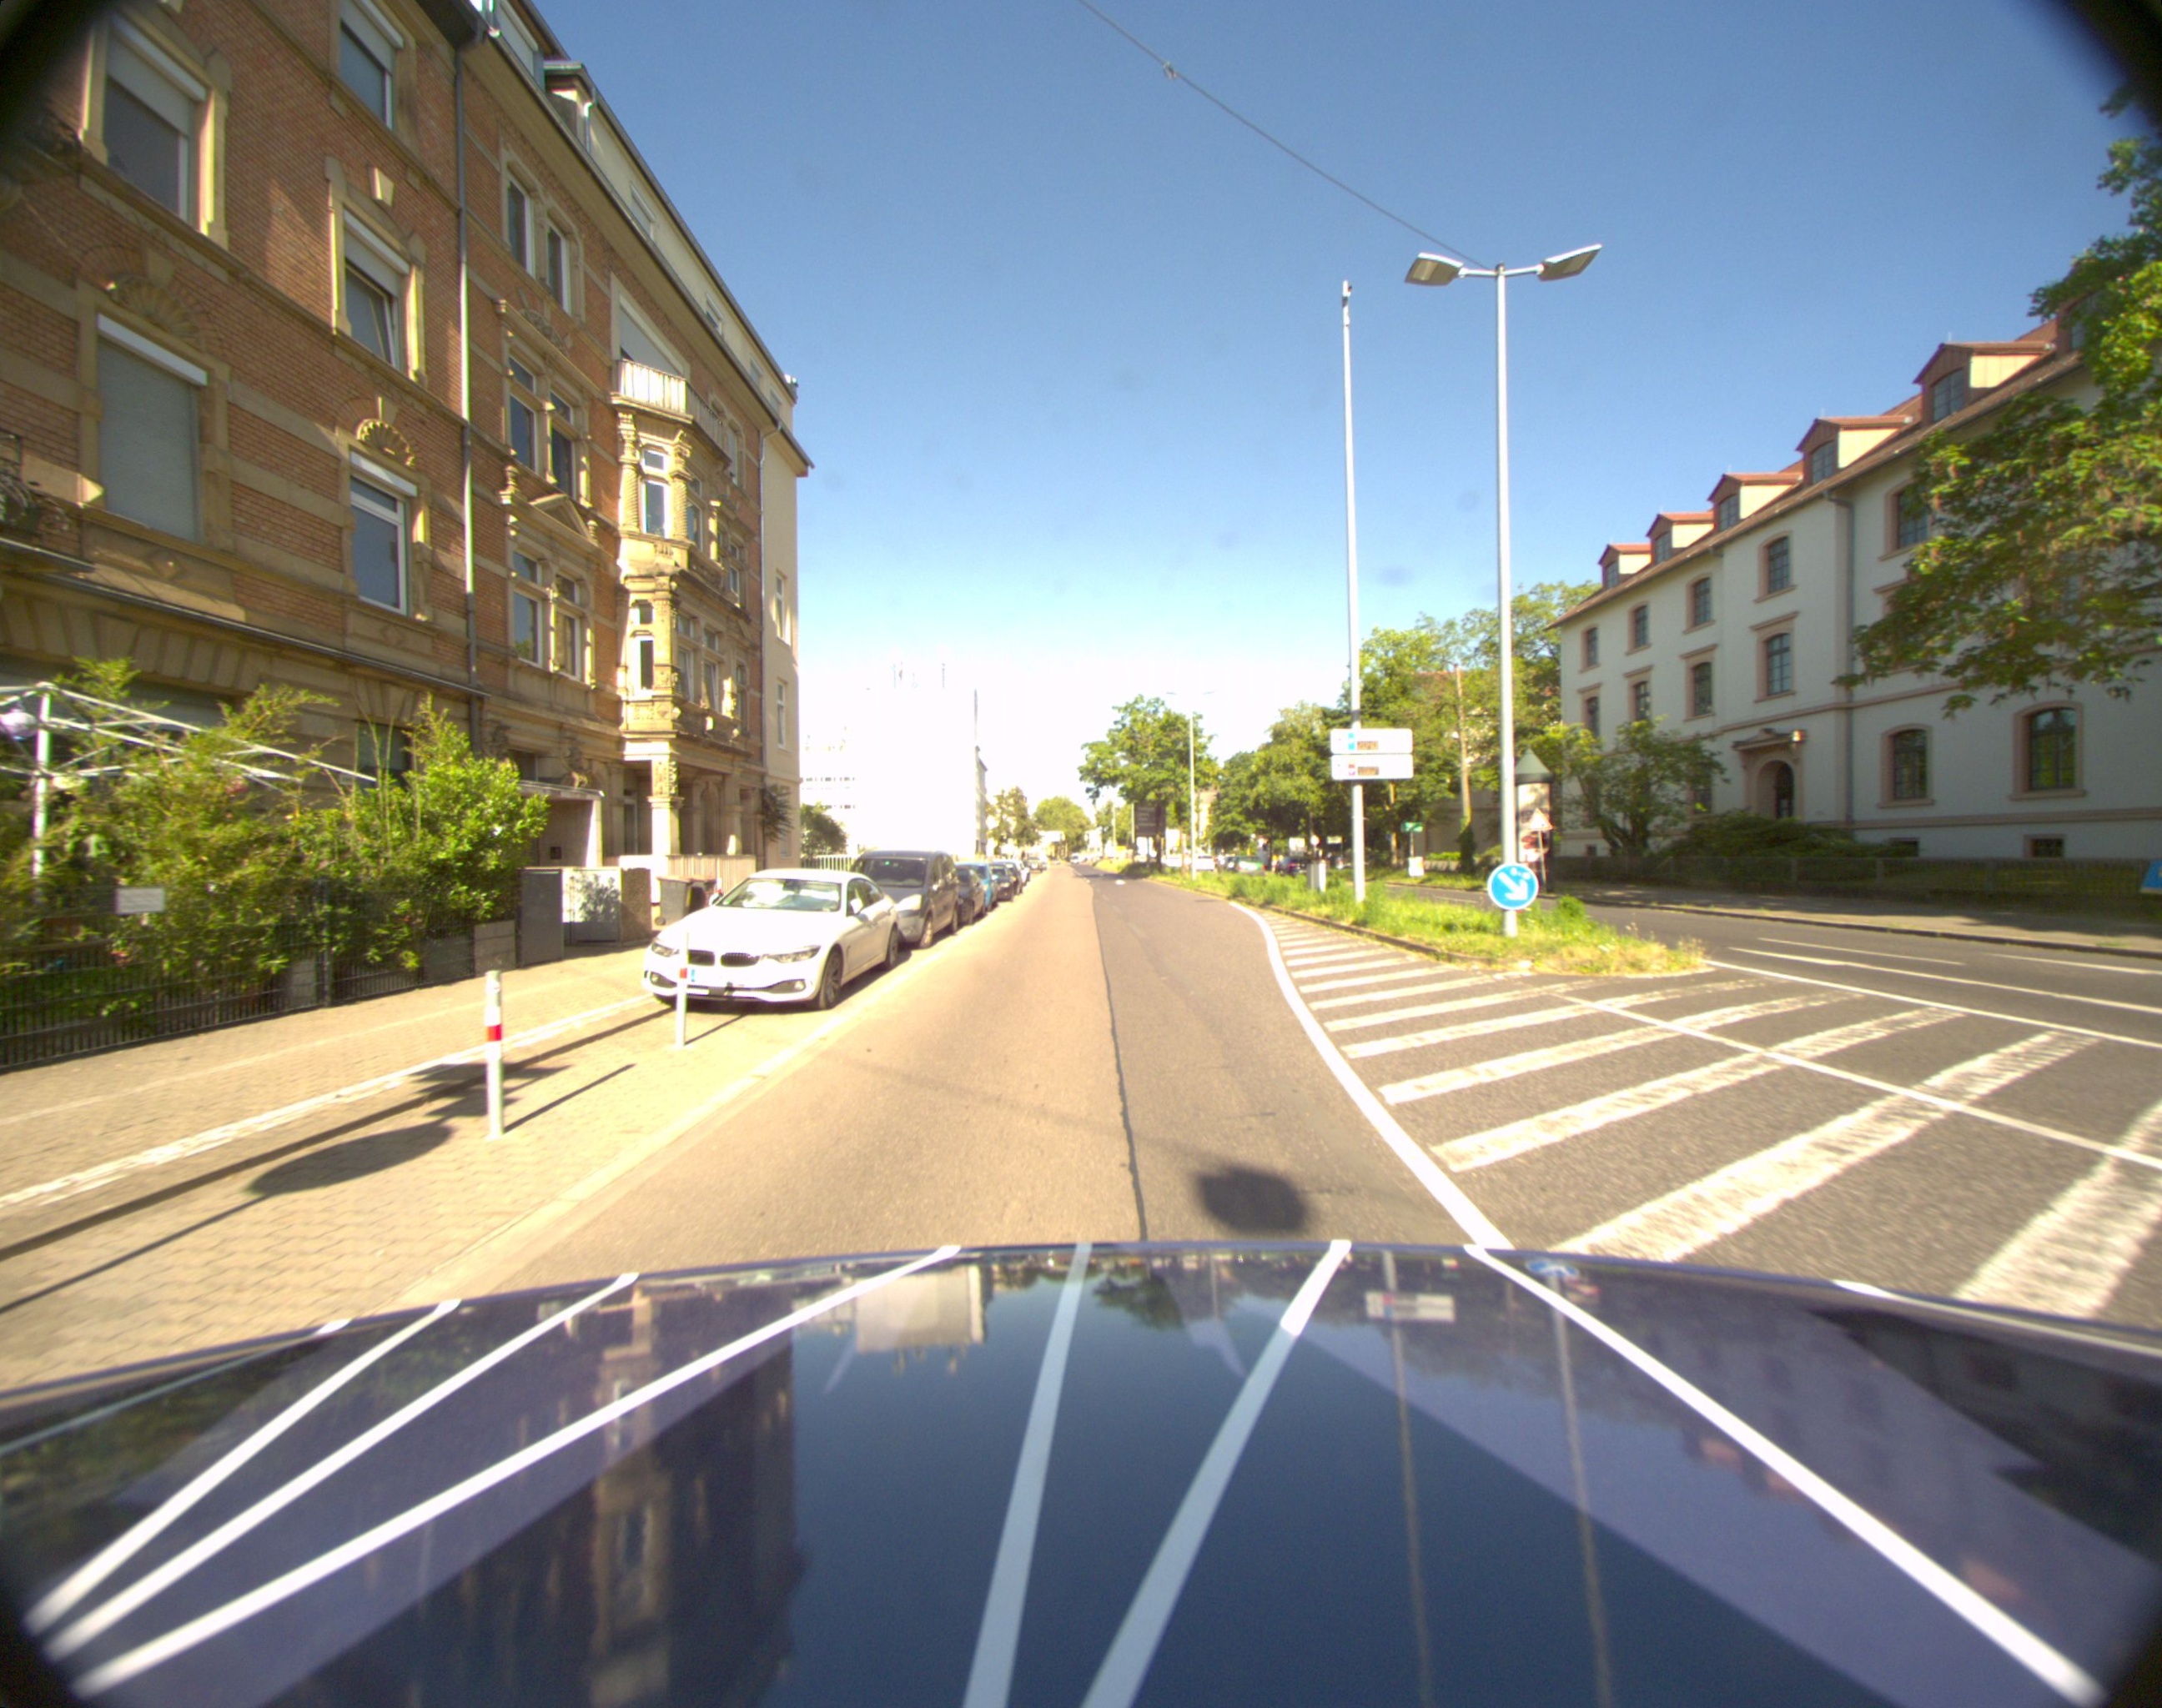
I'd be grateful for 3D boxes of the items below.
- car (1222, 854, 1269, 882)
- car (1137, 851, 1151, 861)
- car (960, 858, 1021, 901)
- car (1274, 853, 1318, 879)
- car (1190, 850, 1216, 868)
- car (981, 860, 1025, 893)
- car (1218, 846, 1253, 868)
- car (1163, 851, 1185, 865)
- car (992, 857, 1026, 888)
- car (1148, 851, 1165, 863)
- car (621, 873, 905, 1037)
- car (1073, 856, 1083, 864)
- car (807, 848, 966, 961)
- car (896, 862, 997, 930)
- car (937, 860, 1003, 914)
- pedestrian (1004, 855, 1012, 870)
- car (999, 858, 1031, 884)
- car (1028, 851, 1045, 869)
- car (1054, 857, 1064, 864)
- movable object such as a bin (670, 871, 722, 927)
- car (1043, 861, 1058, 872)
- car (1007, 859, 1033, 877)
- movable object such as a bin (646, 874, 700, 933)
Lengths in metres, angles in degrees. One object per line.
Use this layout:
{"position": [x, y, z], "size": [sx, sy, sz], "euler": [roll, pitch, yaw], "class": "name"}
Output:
{"position": [9.382, 0.768, 43.701], "size": [1.642, 1.510, 4.257], "euler": [-1, 0, -2], "class": "car"}
{"position": [10.046, 0.358, 121.535], "size": [1.800, 1.510, 4.257], "euler": [-1, 0, -2], "class": "car"}
{"position": [-3.375, 0.920, 29.205], "size": [1.940, 1.510, 4.483], "euler": [-1, 0, -2], "class": "car"}
{"position": [14.005, 0.762, 49.750], "size": [1.800, 1.510, 4.424], "euler": [-2, 0, 3], "class": "car"}
{"position": [11.202, 0.460, 69.833], "size": [1.905, 1.616, 4.538], "euler": [0, 0, 3], "class": "car"}
{"position": [-3.421, 0.957, 33.774], "size": [1.672, 1.385, 3.774], "euler": [-1, 0, -2], "class": "car"}
{"position": [11.609, 0.190, 57.362], "size": [1.800, 1.510, 4.086], "euler": [0, 1, 0], "class": "car"}
{"position": [10.668, 0.452, 87.513], "size": [1.843, 1.510, 4.665], "euler": [-1, 0, 0], "class": "car"}
{"position": [-3.742, 0.945, 39.778], "size": [1.673, 1.510, 3.660], "euler": [-1, 0, -4], "class": "car"}
{"position": [10.293, 0.369, 103.853], "size": [1.800, 1.510, 4.256], "euler": [-2, 2, -1], "class": "car"}
{"position": [-3.486, 1.002, 9.273], "size": [1.714, 1.417, 4.205], "euler": [1, 0, 0], "class": "car"}
{"position": [-0.763, 1.304, 174.254], "size": [1.882, 1.511, 3.999], "euler": [-2, 3, 6], "class": "car"}
{"position": [-3.524, 0.840, 14.659], "size": [1.823, 1.833, 4.364], "euler": [-1, 0, 1], "class": "car"}
{"position": [-3.277, 0.971, 19.322], "size": [1.672, 1.459, 4.274], "euler": [-2, 0, 1], "class": "car"}
{"position": [-3.443, 0.998, 24.079], "size": [1.626, 1.462, 3.298], "euler": [-4, 0, -2], "class": "car"}
{"position": [-7.944, 0.957, 82.444], "size": [0.745, 1.574, 0.896], "euler": [-2, 1, -1], "class": "pedestrian"}
{"position": [-3.791, 0.953, 43.960], "size": [1.613, 1.437, 3.658], "euler": [2, 0, -2], "class": "car"}
{"position": [-4.881, 0.642, 84.071], "size": [1.665, 2.002, 4.775], "euler": [0, 1, -1], "class": "car"}
{"position": [-4.988, 1.479, 173.169], "size": [1.882, 1.510, 4.001], "euler": [-2, 1, 6], "class": "car"}
{"position": [-8.560, 0.993, 16.914], "size": [0.760, 1.150, 0.608], "euler": [-2, 4, 1], "class": "movable object such as a bin"}
{"position": [-4.230, 1.753, 105.535], "size": [1.641, 1.439, 4.158], "euler": [-1, -1, 4], "class": "car"}
{"position": [-4.314, 0.965, 53.770], "size": [1.672, 1.175, 3.900], "euler": [2, 0, -3], "class": "car"}
{"position": [-8.607, 1.032, 16.046], "size": [0.724, 1.150, 0.608], "euler": [-2, 4, 1], "class": "movable object such as a bin"}
